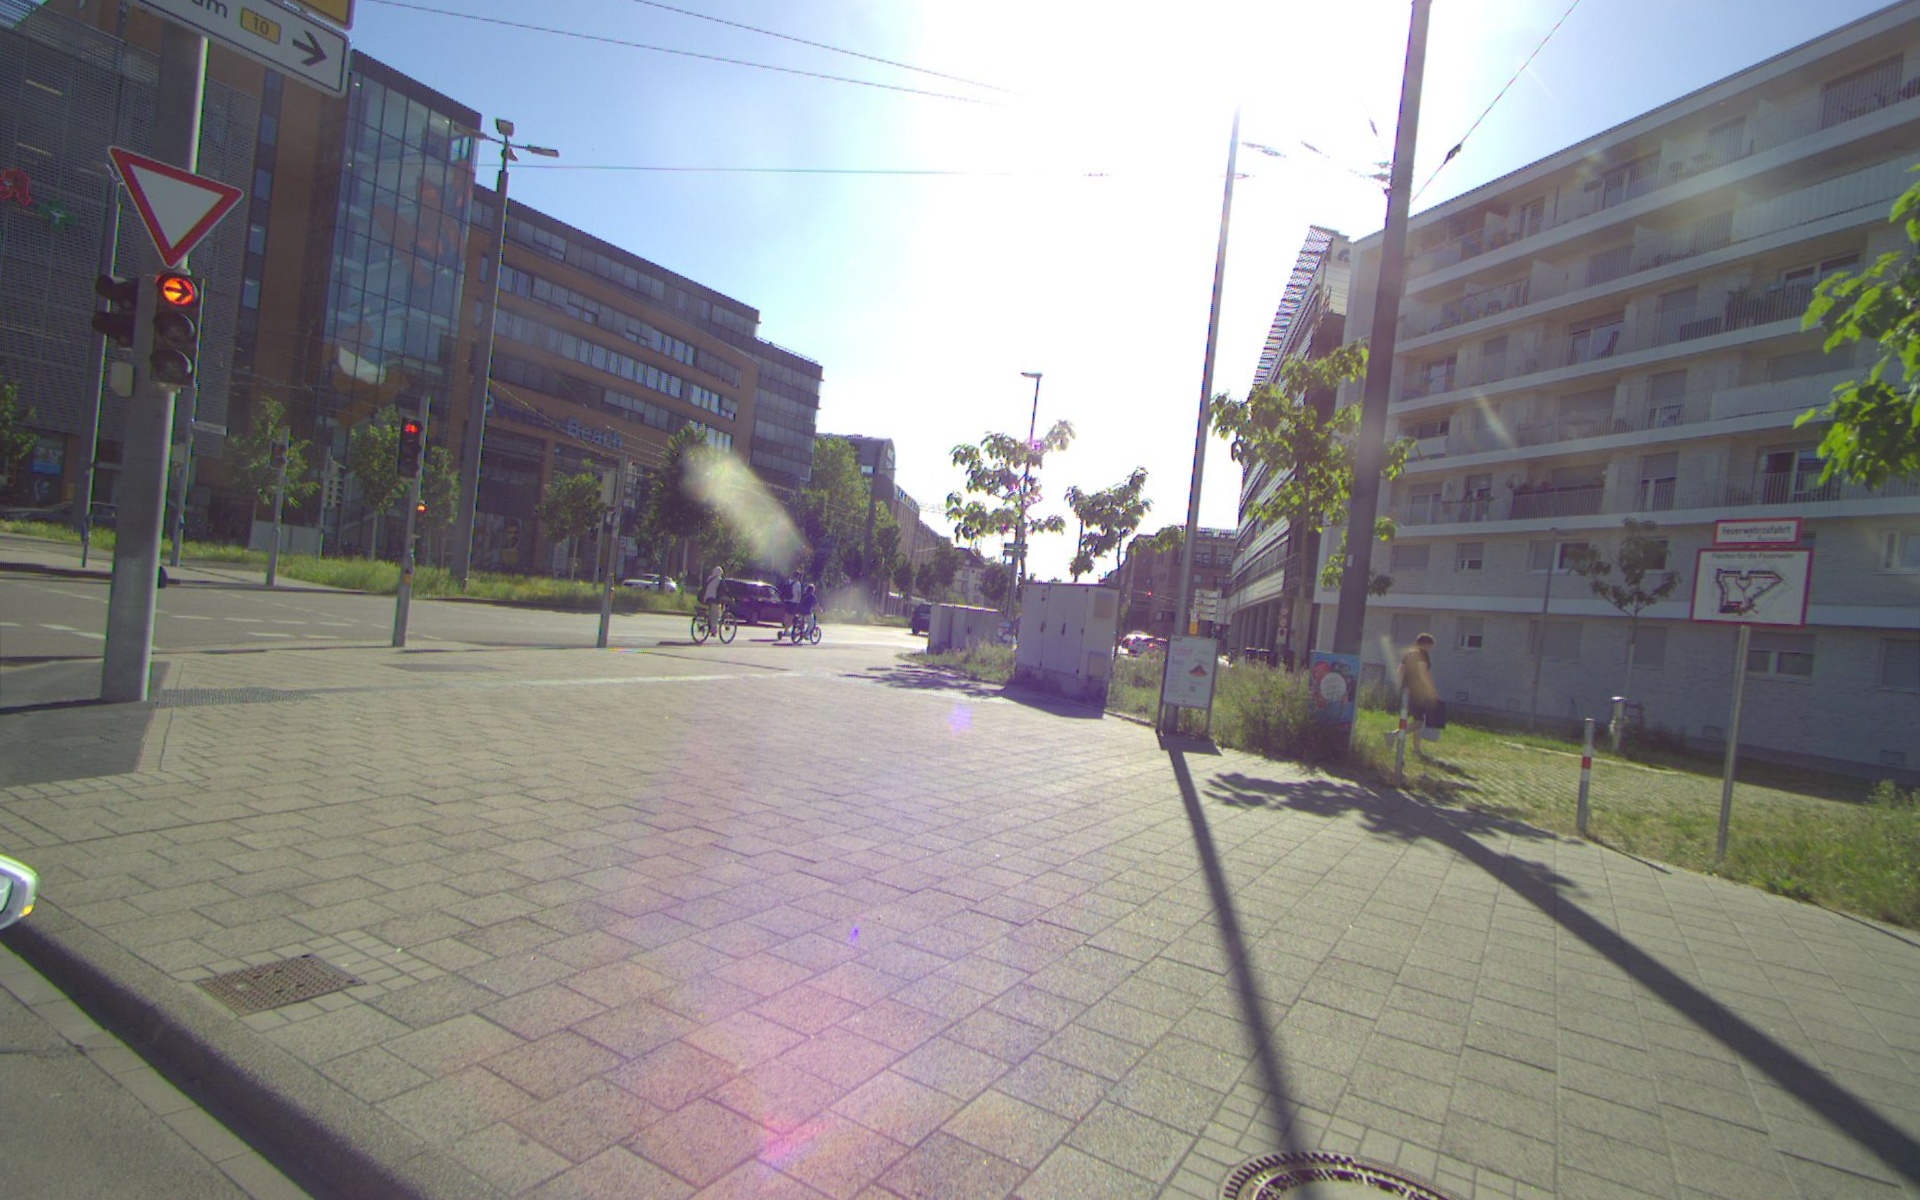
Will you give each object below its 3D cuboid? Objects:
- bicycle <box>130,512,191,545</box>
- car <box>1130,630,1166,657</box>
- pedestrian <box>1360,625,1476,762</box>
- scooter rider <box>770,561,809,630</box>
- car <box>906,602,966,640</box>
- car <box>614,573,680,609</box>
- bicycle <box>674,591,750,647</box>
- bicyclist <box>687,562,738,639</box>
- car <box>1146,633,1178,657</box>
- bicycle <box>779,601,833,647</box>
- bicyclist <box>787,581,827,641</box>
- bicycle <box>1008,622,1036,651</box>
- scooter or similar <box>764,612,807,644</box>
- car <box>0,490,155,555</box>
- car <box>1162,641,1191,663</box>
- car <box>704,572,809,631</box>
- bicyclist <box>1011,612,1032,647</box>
[{"bbox_3d":[-40.519,-3.614,51.037,0.595,1.310,2.260,7,-2,30],"label":"bicycle"},{"bbox_3d":[12.987,3.051,69.253,1.677,1.515,4.281,7,-2,19],"label":"car"},{"bbox_3d":[6.293,1.270,13.856,0.970,1.719,0.842,6,2,-16],"label":"pedestrian"},{"bbox_3d":[-4.987,-0.118,29.468,0.563,1.894,0.787,7,-1,22],"label":"scooter rider"},{"bbox_3d":[-1.201,1.148,52.847,1.616,1.665,4.200,7,-1,20],"label":"car"},{"bbox_3d":[-20.883,-0.594,67.281,1.807,1.661,4.311,7,-5,21],"label":"car"},{"bbox_3d":[-5.903,0.472,24.039,0.571,1.150,1.907,7,-2,25],"label":"bicycle"},{"bbox_3d":[-5.893,0.026,23.956,0.563,1.727,0.885,7,-1,25],"label":"bicyclist"},{"bbox_3d":[15.583,3.488,77.449,1.677,1.515,4.281,7,-2,19],"label":"car"},{"bbox_3d":[-4.372,0.712,28.653,0.576,1.150,1.761,7,-2,22],"label":"bicycle"},{"bbox_3d":[-4.337,0.322,28.538,0.563,1.585,0.886,7,-1,22],"label":"bicyclist"},{"bbox_3d":[2.989,1.763,48.372,0.576,1.271,2.042,7,-2,22],"label":"bicycle"},{"bbox_3d":[-5.099,0.836,29.490,0.603,0.795,1.213,7,-2,22],"label":"scooter or similar"},{"bbox_3d":[-32.070,-2.770,36.331,1.810,1.484,4.161,6,-5,30],"label":"car"},{"bbox_3d":[17.918,4.310,83.266,1.677,1.515,4.281,7,-2,19],"label":"car"},{"bbox_3d":[-7.186,0.090,35.890,1.617,1.665,3.700,7,-1,26],"label":"car"},{"bbox_3d":[2.949,1.442,48.354,0.563,1.585,0.886,7,-1,22],"label":"bicyclist"}]
